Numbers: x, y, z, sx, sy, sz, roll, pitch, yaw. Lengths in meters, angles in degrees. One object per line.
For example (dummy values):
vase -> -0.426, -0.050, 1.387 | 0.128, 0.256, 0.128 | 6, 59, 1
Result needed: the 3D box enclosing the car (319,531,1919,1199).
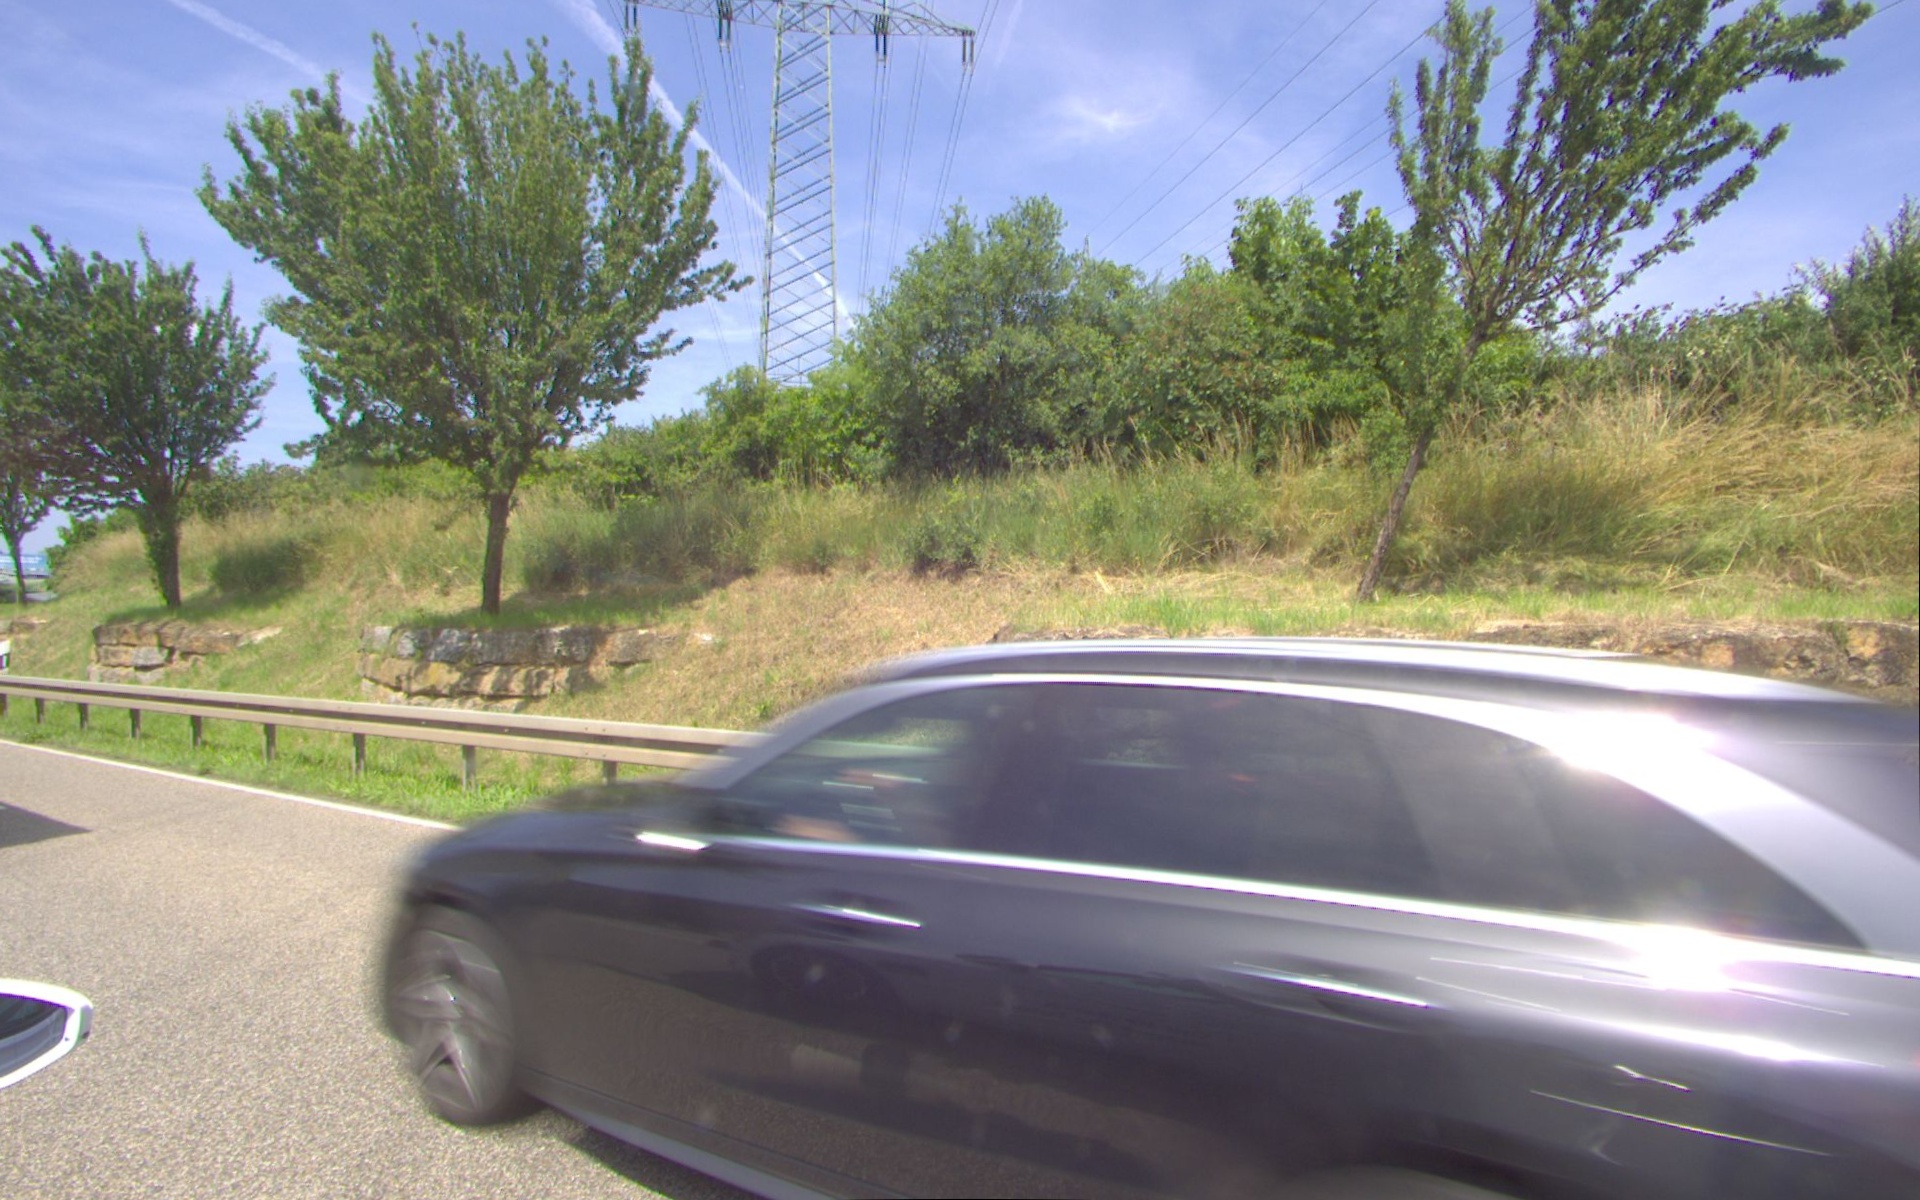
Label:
car -> 0.105, 0.757, 2.936 | 4.238, 1.552, 1.743 | -1, -2, 33
